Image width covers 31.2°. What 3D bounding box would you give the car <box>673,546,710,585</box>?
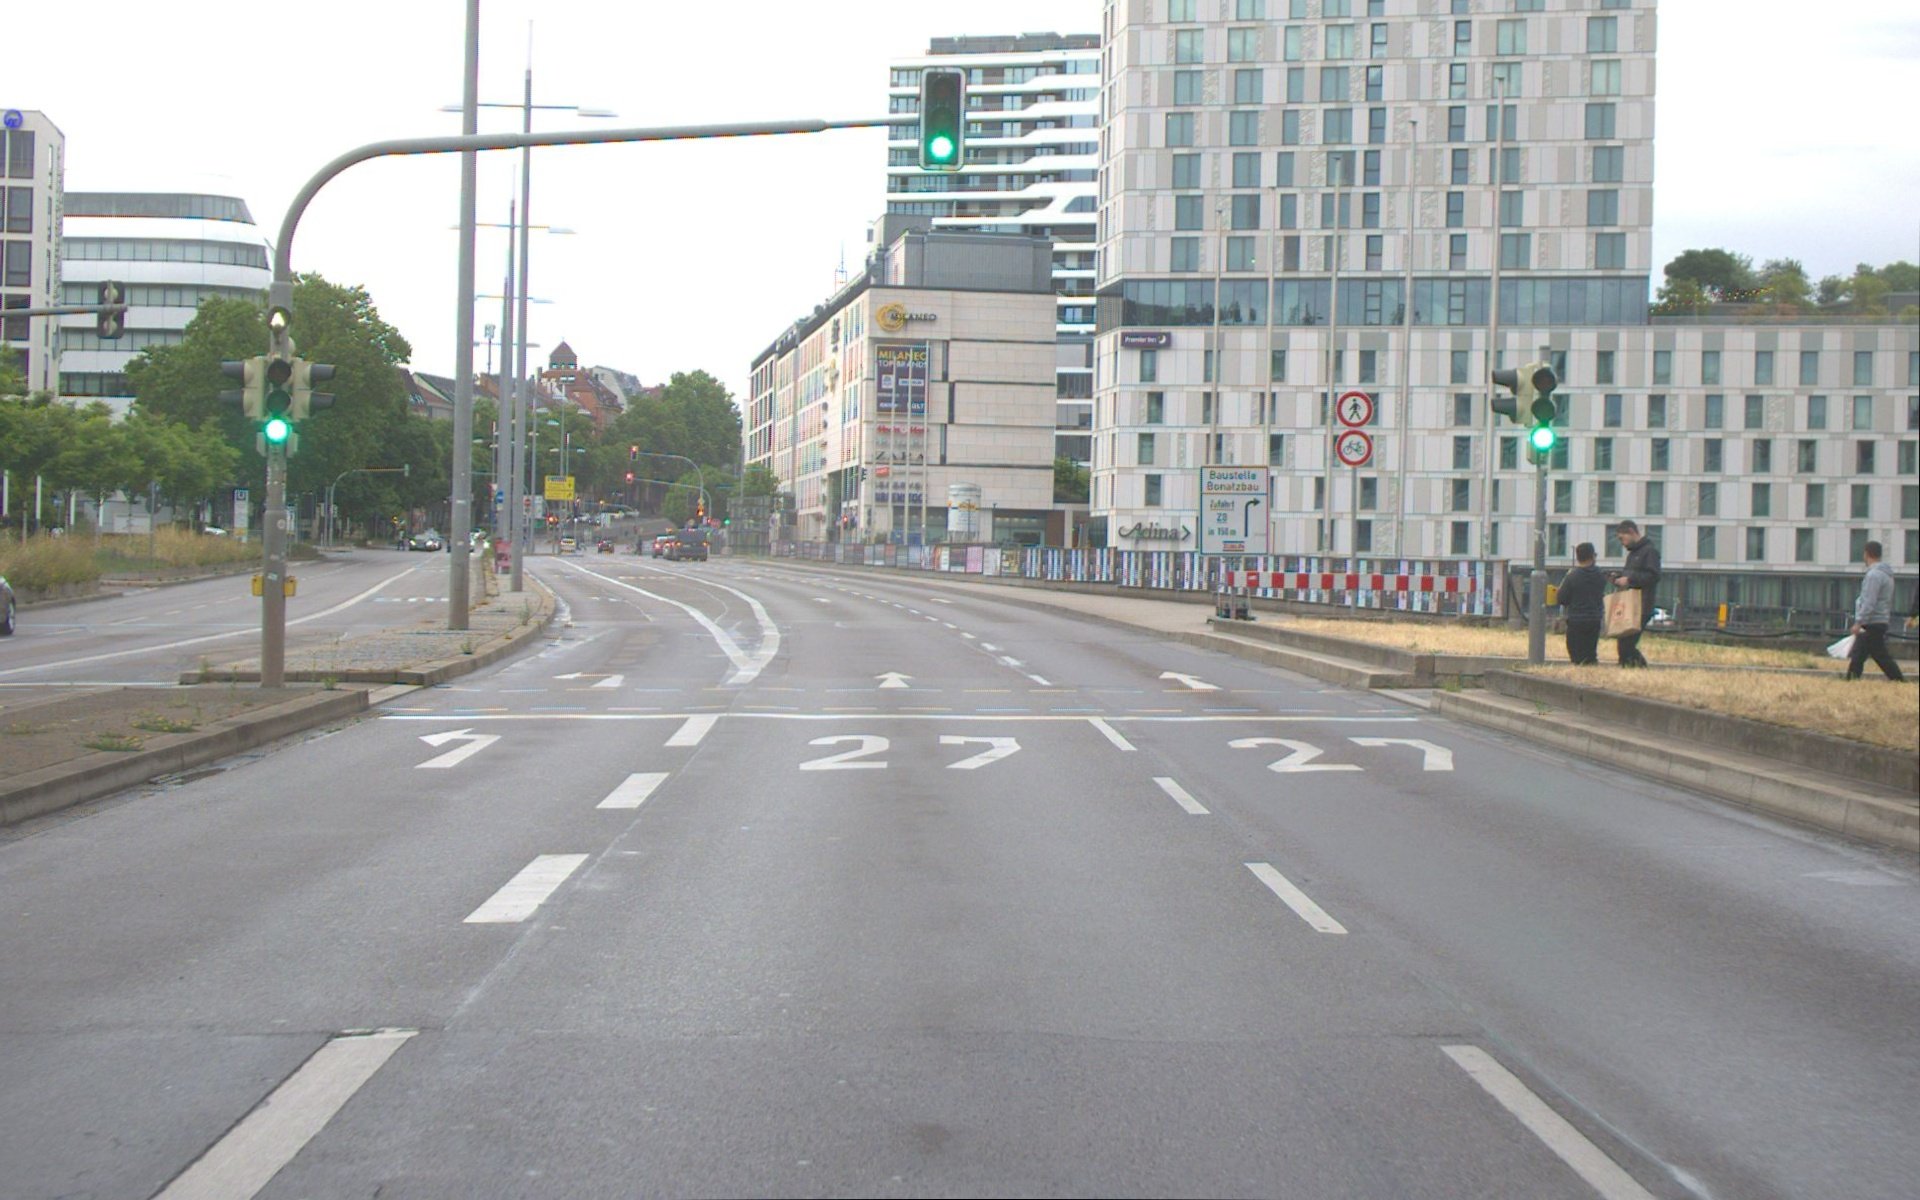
[{"bbox_3d":[-16.340,-2.103,209.146,1.993,2.335,4.000,1,1,-2],"label":"car"}]

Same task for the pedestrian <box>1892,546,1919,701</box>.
[{"bbox_3d":[10.065,0.238,35.453,0.670,1.572,0.667,2,3,37],"label":"pedestrian"}]

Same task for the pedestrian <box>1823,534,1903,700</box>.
[{"bbox_3d":[8.739,0.153,33.268,0.550,1.572,0.669,2,3,33],"label":"pedestrian"}]

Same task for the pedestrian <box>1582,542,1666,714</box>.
[{"bbox_3d":[6.262,0.254,32.396,0.550,1.572,0.669,2,3,33],"label":"pedestrian"}]

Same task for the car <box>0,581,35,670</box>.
[{"bbox_3d":[-16.244,0.405,55.432,1.748,1.403,3.725,1,1,-2],"label":"car"}]

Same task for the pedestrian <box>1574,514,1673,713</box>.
[{"bbox_3d":[6.256,0.111,32.404,0.781,1.835,0.551,-2,3,-44],"label":"pedestrian"}]
